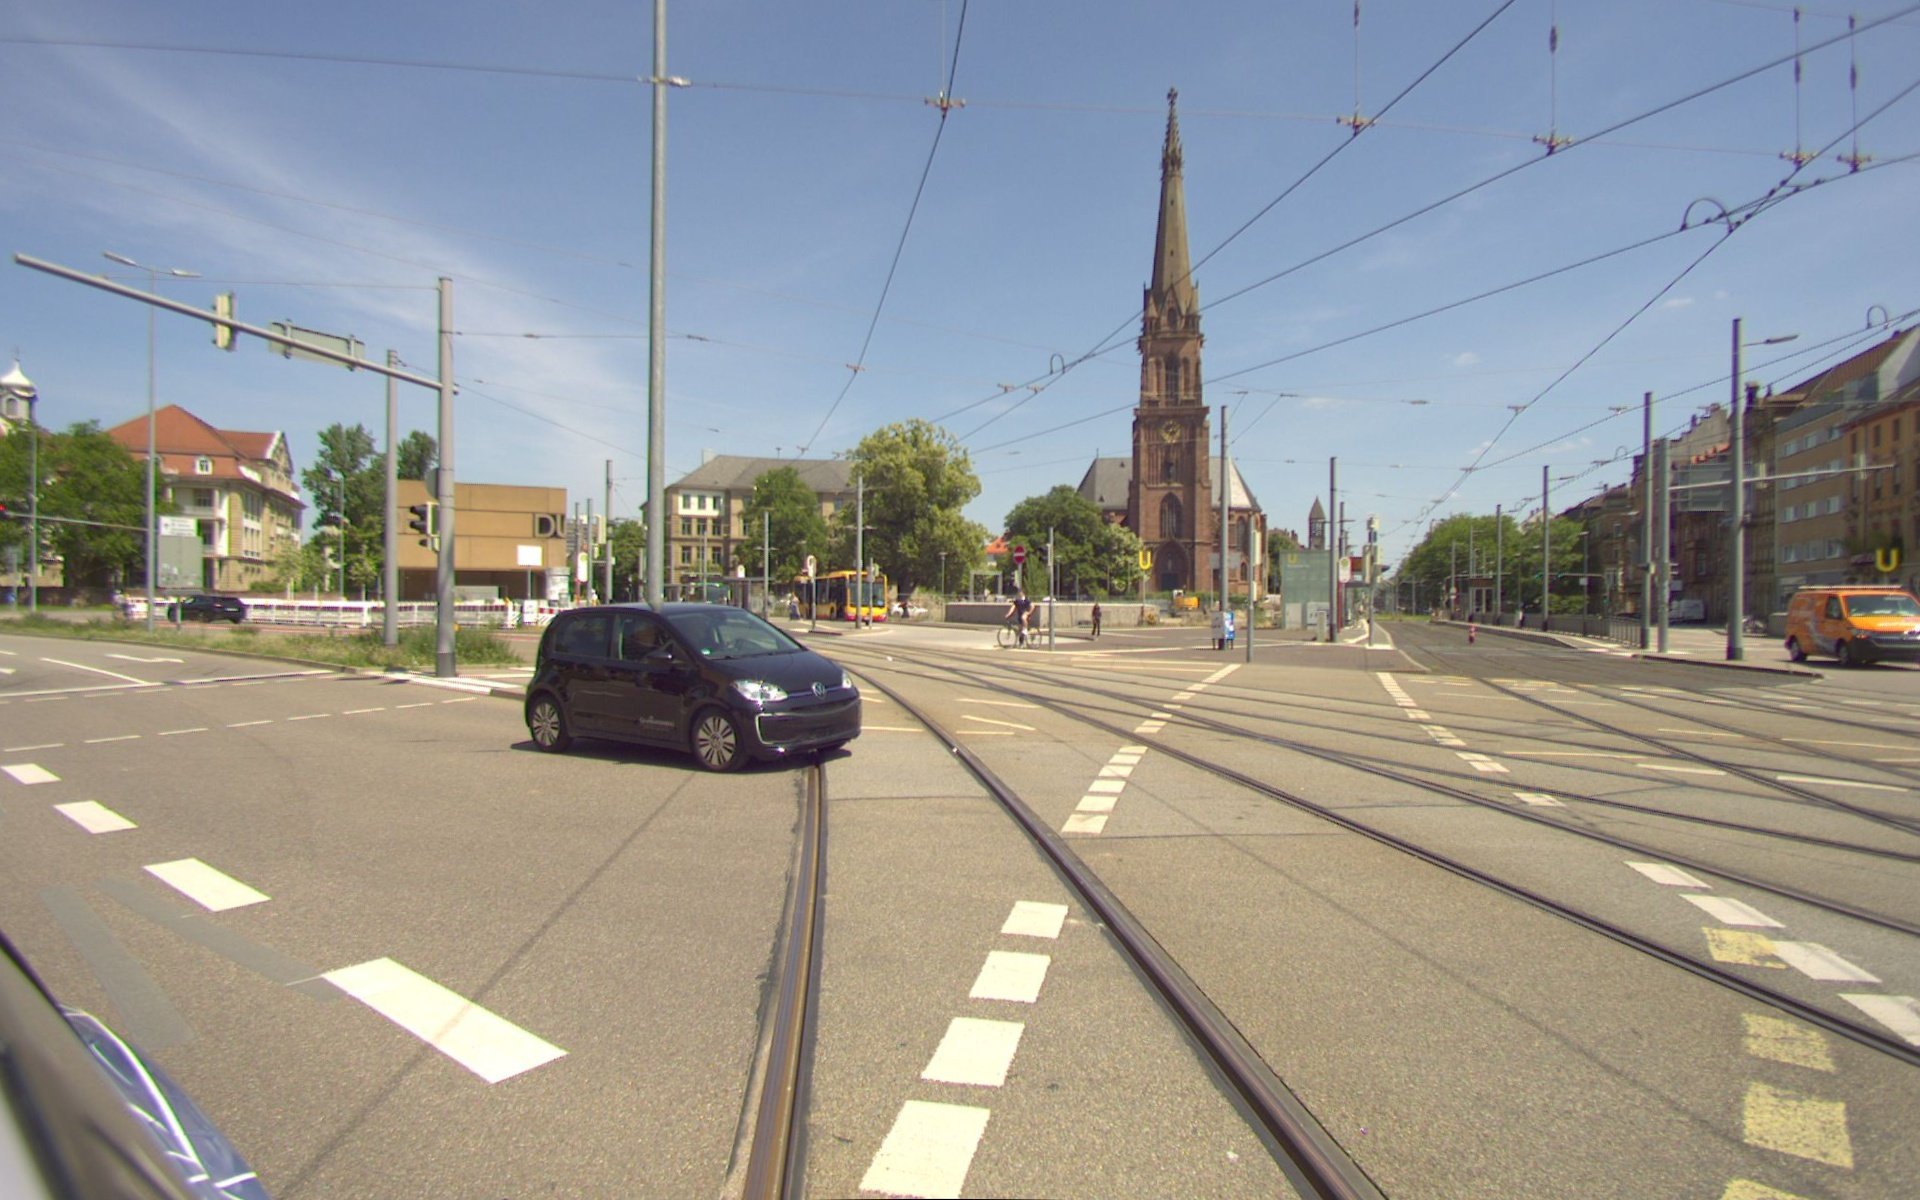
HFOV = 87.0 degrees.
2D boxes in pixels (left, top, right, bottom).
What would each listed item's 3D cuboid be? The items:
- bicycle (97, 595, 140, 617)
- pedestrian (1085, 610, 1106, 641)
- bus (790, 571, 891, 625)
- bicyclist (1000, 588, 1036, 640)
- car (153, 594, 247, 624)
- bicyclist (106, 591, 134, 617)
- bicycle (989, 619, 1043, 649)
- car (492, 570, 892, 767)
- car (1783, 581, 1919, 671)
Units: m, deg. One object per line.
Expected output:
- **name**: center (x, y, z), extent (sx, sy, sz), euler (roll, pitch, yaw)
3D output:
- **bicycle**: center (-45.007, 0.312, 54.132), extent (2.218, 1.080, 0.872), euler (1, 2, 24)
- **pedestrian**: center (5.988, 1.125, 44.769), extent (0.518, 1.344, 1.001), euler (0, 0, -19)
- **bus**: center (-7.637, -0.092, 62.676), extent (2.807, 3.038, 12.261), euler (0, 0, -23)
- **bicyclist**: center (1.803, 0.415, 31.249), extent (0.438, 1.540, 1.237), euler (1, 2, 42)
- **car**: center (-39.406, 0.429, 52.485), extent (4.821, 1.476, 1.982), euler (0, 0, 27)
- **bicyclist**: center (-44.967, 0.188, 54.163), extent (1.431, 1.366, 0.582), euler (1, 2, 24)
- **bicycle**: center (1.747, 1.034, 31.223), extent (0.628, 0.861, 1.873), euler (0, 0, 42)
- **car**: center (-2.673, 0.553, 9.885), extent (3.726, 1.588, 1.730), euler (0, 0, 33)
- **car**: center (23.079, 0.618, 25.668), extent (1.986, 2.073, 4.837), euler (0, 0, 21)
